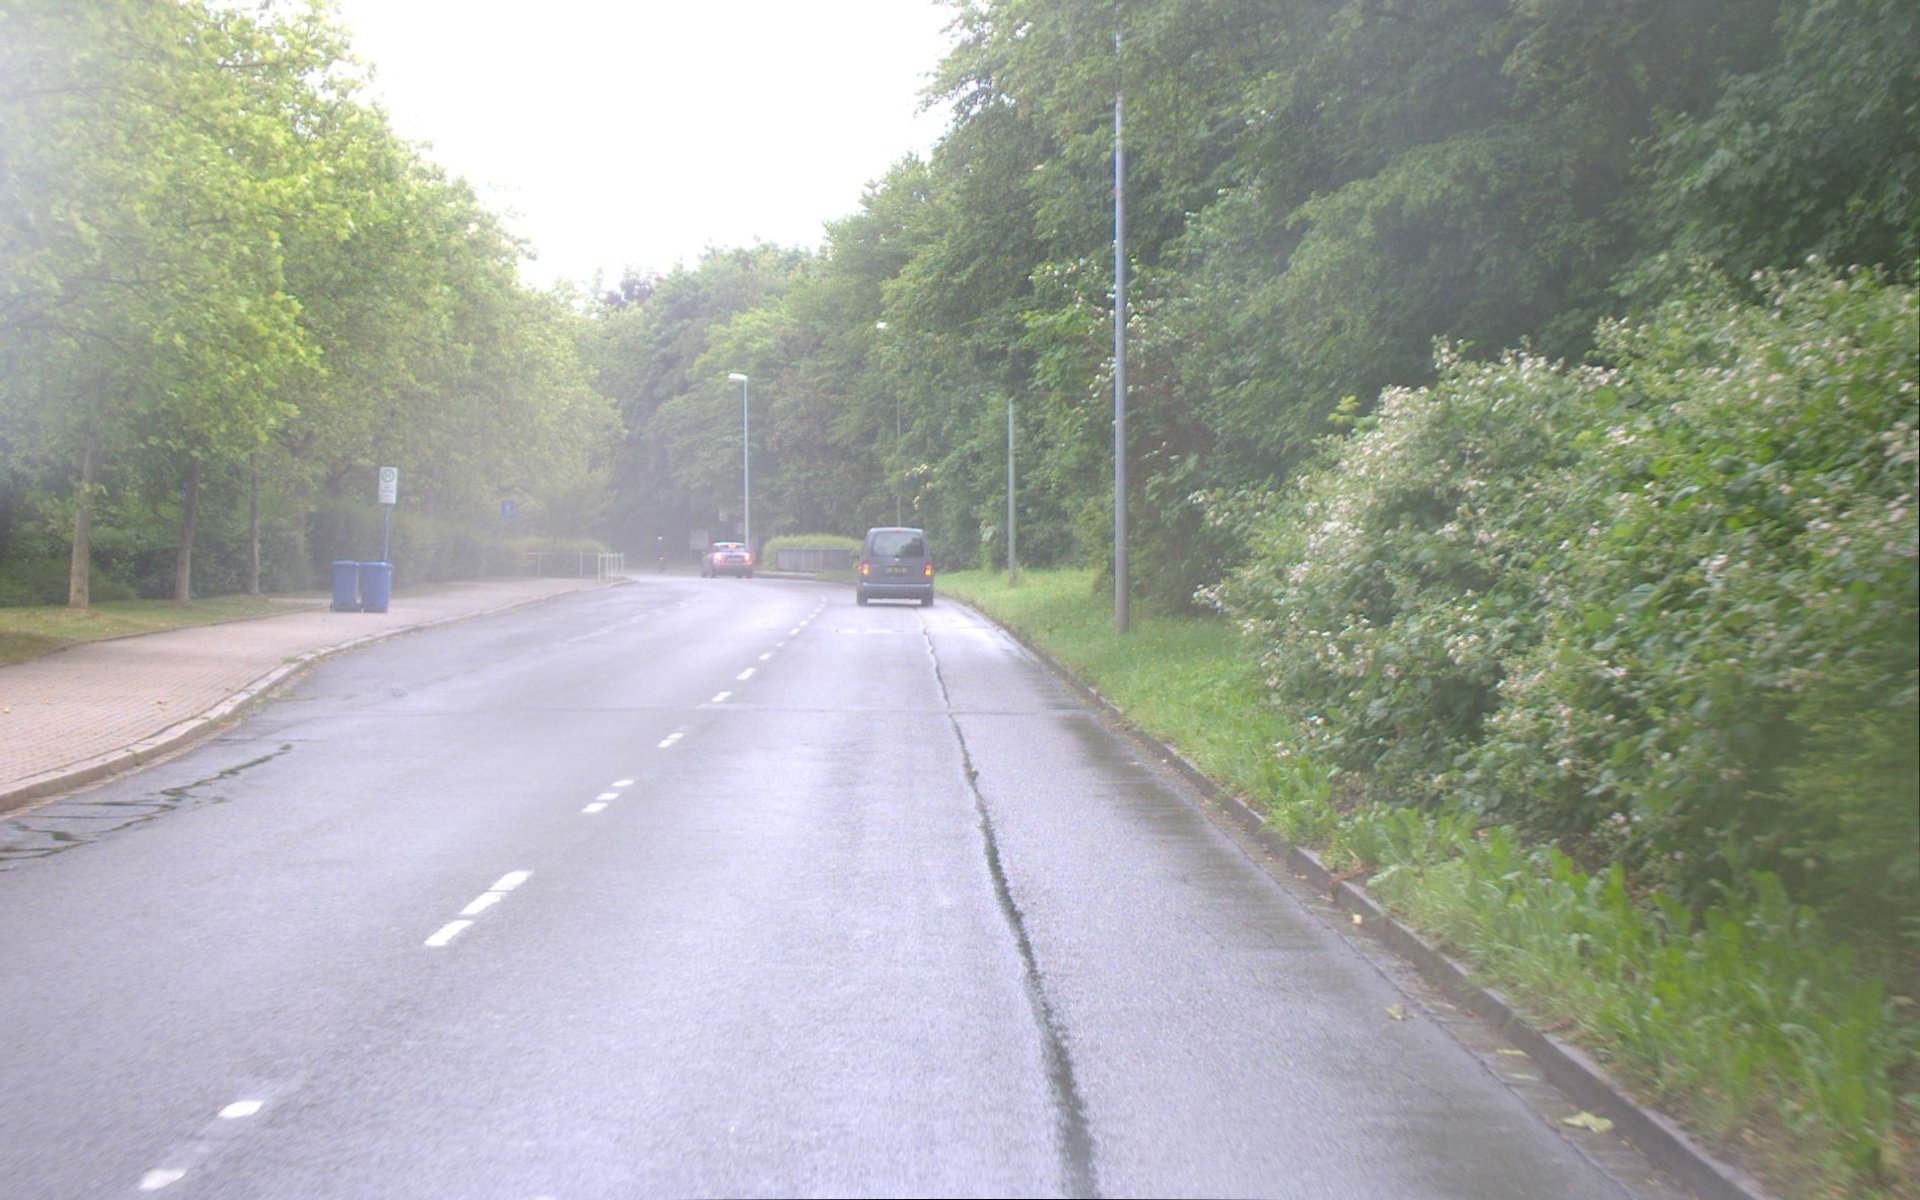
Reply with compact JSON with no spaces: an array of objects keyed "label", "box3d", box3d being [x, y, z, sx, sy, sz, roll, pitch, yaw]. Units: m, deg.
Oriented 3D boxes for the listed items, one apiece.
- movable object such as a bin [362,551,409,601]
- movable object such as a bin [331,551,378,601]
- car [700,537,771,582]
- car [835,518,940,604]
[{"label":"movable object such as a bin","box3d":[-12.190,-0.503,72.914,0.666,1.023,0.835,-3,2,-32]},{"label":"movable object such as a bin","box3d":[-12.766,-0.504,72.521,0.666,1.023,0.835,-3,2,-32]},{"label":"car","box3d":[-9.029,-1.640,138.014,1.993,1.766,4.001,-1,2,-16]},{"label":"car","box3d":[-1.731,-0.939,80.843,1.993,1.787,4.001,2,2,-7]}]
